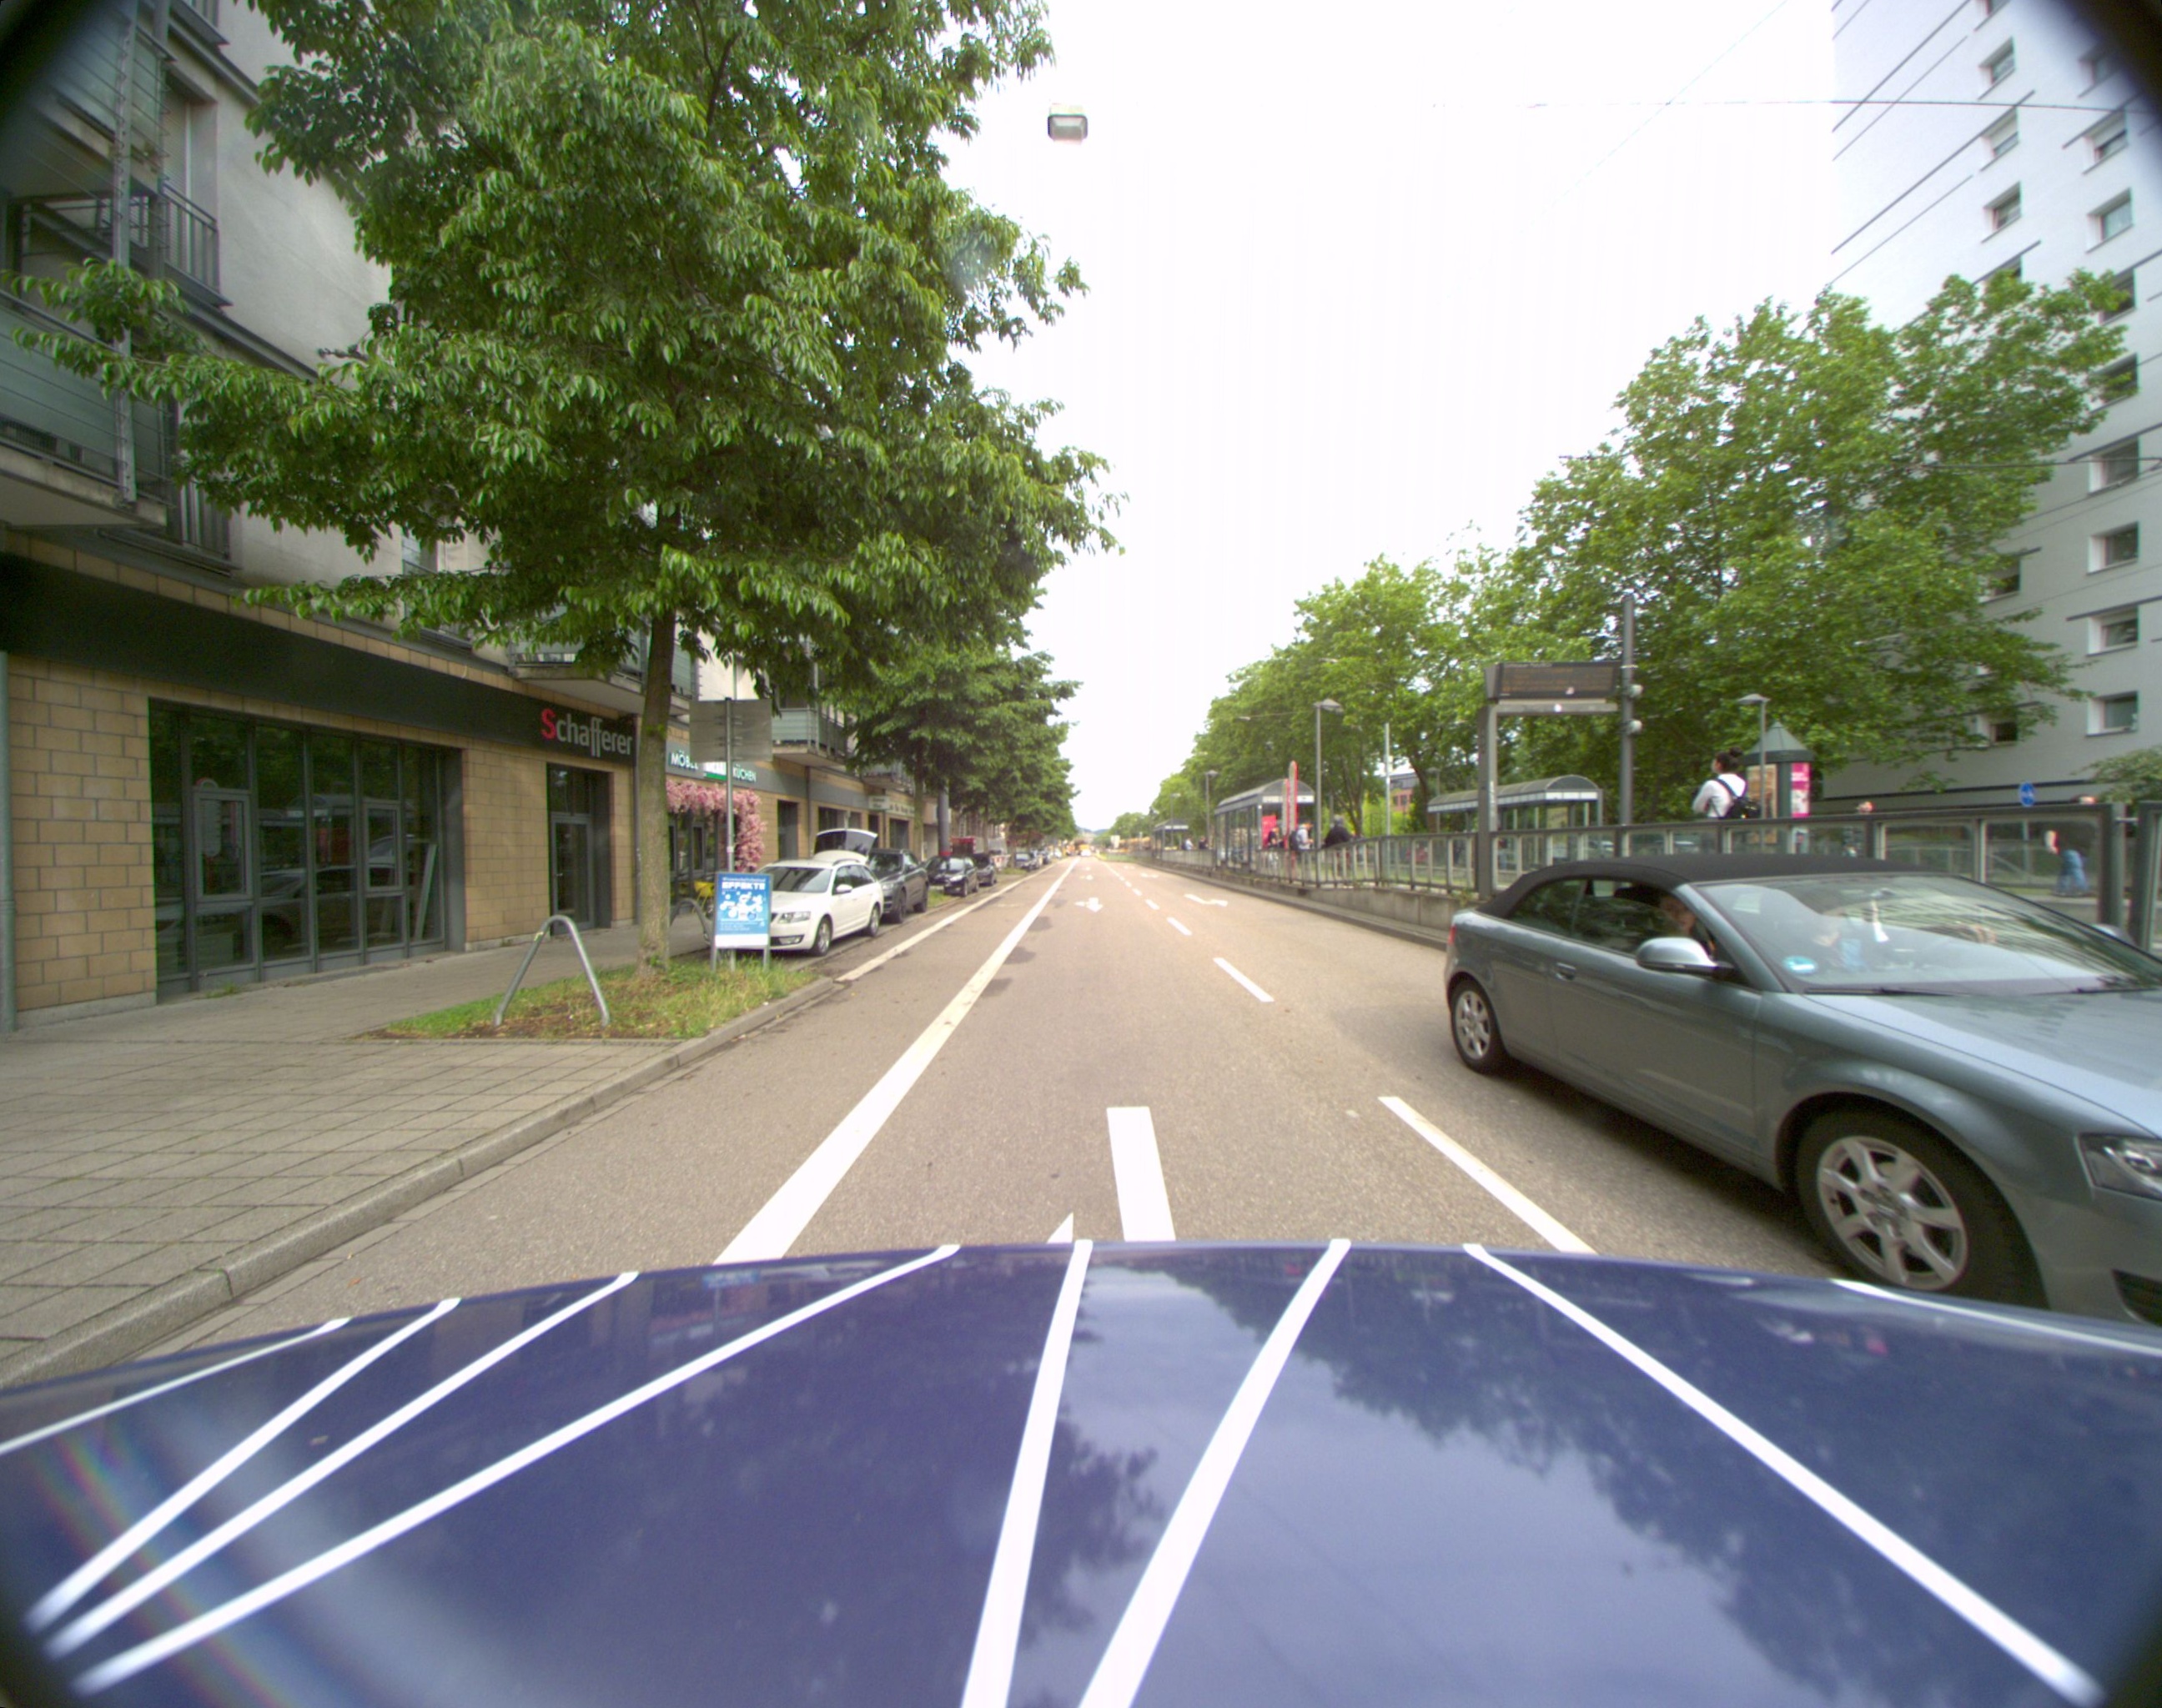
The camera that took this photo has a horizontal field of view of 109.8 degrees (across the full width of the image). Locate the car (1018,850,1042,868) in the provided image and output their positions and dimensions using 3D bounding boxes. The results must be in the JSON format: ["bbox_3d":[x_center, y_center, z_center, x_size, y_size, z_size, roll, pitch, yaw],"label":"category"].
[{"bbox_3d":[-4.116,0.372,62.176,1.612,1.393,3.667,2,1,1],"label":"car"}]

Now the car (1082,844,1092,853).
[{"bbox_3d":[1.388,-1.212,166.732,1.998,2.002,4.198,-2,1,2],"label":"car"}]

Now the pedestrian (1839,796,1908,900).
[{"bbox_3d":[15.068,-0.110,14.462,0.699,1.919,0.554,-2,1,1],"label":"pedestrian"}]

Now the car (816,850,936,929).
[{"bbox_3d":[-4.713,0.745,18.015,1.738,1.601,3.798,2,1,1],"label":"car"}]

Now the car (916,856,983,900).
[{"bbox_3d":[-4.633,0.798,27.287,1.612,1.369,4.167,2,1,1],"label":"car"}]

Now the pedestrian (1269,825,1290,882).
[{"bbox_3d":[6.316,-0.020,24.209,0.474,1.794,0.606,-2,1,26],"label":"pedestrian"}]

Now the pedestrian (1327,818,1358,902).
[{"bbox_3d":[5.709,0.127,16.590,0.521,1.794,0.605,-2,1,13],"label":"pedestrian"}]

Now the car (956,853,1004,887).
[{"bbox_3d":[-4.552,0.689,34.748,1.612,1.393,3.667,2,1,1],"label":"car"}]

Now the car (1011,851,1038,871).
[{"bbox_3d":[-4.157,0.486,56.236,1.612,1.393,3.667,2,1,1],"label":"car"}]

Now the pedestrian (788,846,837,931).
[{"bbox_3d":[-5.510,0.690,15.604,0.737,1.707,0.618,1,1,8],"label":"pedestrian"}]

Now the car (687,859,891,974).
[{"bbox_3d":[-4.717,0.904,13.012,1.738,1.512,4.308,2,1,1],"label":"car"}]

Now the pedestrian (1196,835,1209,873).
[{"bbox_3d":[5.853,0.009,36.533,0.530,1.794,0.606,-2,1,14],"label":"pedestrian"}]

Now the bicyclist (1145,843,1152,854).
[{"bbox_3d":[8.843,-0.720,99.236,0.812,1.458,0.725,-1,1,-8],"label":"bicyclist"}]

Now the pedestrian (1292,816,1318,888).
[{"bbox_3d":[5.751,-0.056,19.493,0.475,1.794,0.605,-2,1,5],"label":"pedestrian"}]

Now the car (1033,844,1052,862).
[{"bbox_3d":[-3.953,-0.132,78.233,1.612,1.674,3.806,2,1,1],"label":"car"}]

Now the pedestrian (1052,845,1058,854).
[{"bbox_3d":[-5.649,-1.018,164.766,1.216,2.002,1.143,-1,1,1],"label":"pedestrian"}]

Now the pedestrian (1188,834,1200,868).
[{"bbox_3d":[6.146,-0.168,41.350,0.530,1.794,0.606,-2,1,14],"label":"pedestrian"}]

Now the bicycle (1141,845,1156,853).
[{"bbox_3d":[8.795,-0.676,99.206,1.782,0.925,0.491,-2,1,-8],"label":"bicycle"}]

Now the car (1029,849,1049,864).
[{"bbox_3d":[-3.960,0.217,72.462,1.612,1.393,3.667,2,1,1],"label":"car"}]

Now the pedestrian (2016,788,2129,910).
[{"bbox_3d":[15.449,-0.078,11.855,0.882,1.823,0.666,-2,1,1],"label":"pedestrian"}]

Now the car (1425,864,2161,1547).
[{"bbox_3d":[3.287,0.819,3.328,1.716,1.379,4.099,-2,1,1],"label":"car"}]

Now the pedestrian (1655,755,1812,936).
[{"bbox_3d":[6.446,-0.085,7.566,0.720,1.661,0.979,-2,1,3],"label":"pedestrian"}]

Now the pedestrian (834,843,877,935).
[{"bbox_3d":[-4.663,0.711,15.745,0.656,1.873,0.599,-1,1,1],"label":"pedestrian"}]
